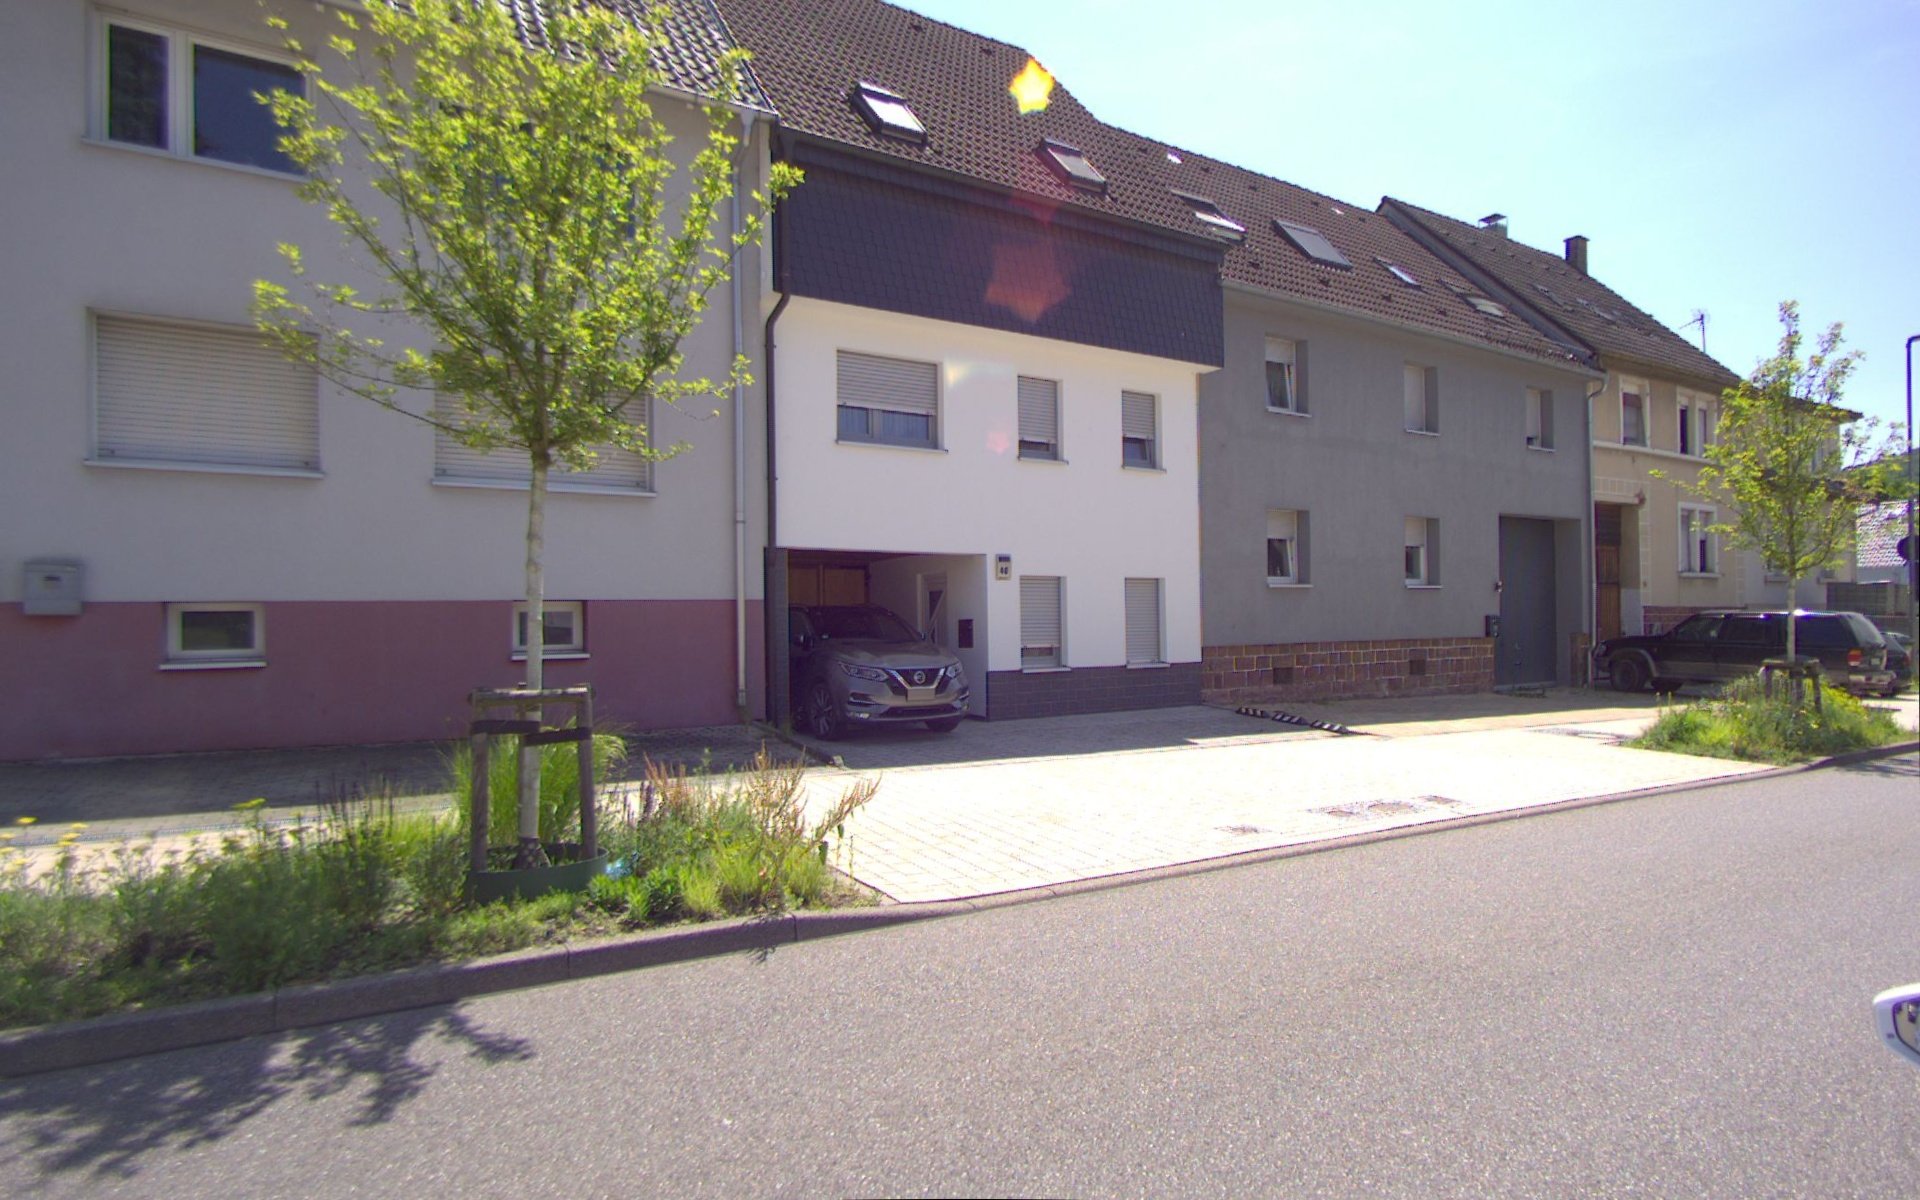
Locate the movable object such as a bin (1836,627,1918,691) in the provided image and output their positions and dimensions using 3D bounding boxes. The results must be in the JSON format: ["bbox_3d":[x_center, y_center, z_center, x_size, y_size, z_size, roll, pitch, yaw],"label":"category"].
[{"bbox_3d":[21.020,1.321,23.018,1.386,1.337,0.985,-2,1,-28],"label":"movable object such as a bin"}]

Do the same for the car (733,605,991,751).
[{"bbox_3d":[-1.421,0.862,12.938,1.811,1.566,3.967,1,-1,-31],"label":"car"}]

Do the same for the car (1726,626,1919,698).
[{"bbox_3d":[19.253,1.318,22.460,1.665,1.458,3.553,0,-1,3],"label":"car"}]

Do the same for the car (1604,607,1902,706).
[{"bbox_3d":[15.777,1.049,20.235,1.857,1.773,4.371,1,-1,-32],"label":"car"}]
